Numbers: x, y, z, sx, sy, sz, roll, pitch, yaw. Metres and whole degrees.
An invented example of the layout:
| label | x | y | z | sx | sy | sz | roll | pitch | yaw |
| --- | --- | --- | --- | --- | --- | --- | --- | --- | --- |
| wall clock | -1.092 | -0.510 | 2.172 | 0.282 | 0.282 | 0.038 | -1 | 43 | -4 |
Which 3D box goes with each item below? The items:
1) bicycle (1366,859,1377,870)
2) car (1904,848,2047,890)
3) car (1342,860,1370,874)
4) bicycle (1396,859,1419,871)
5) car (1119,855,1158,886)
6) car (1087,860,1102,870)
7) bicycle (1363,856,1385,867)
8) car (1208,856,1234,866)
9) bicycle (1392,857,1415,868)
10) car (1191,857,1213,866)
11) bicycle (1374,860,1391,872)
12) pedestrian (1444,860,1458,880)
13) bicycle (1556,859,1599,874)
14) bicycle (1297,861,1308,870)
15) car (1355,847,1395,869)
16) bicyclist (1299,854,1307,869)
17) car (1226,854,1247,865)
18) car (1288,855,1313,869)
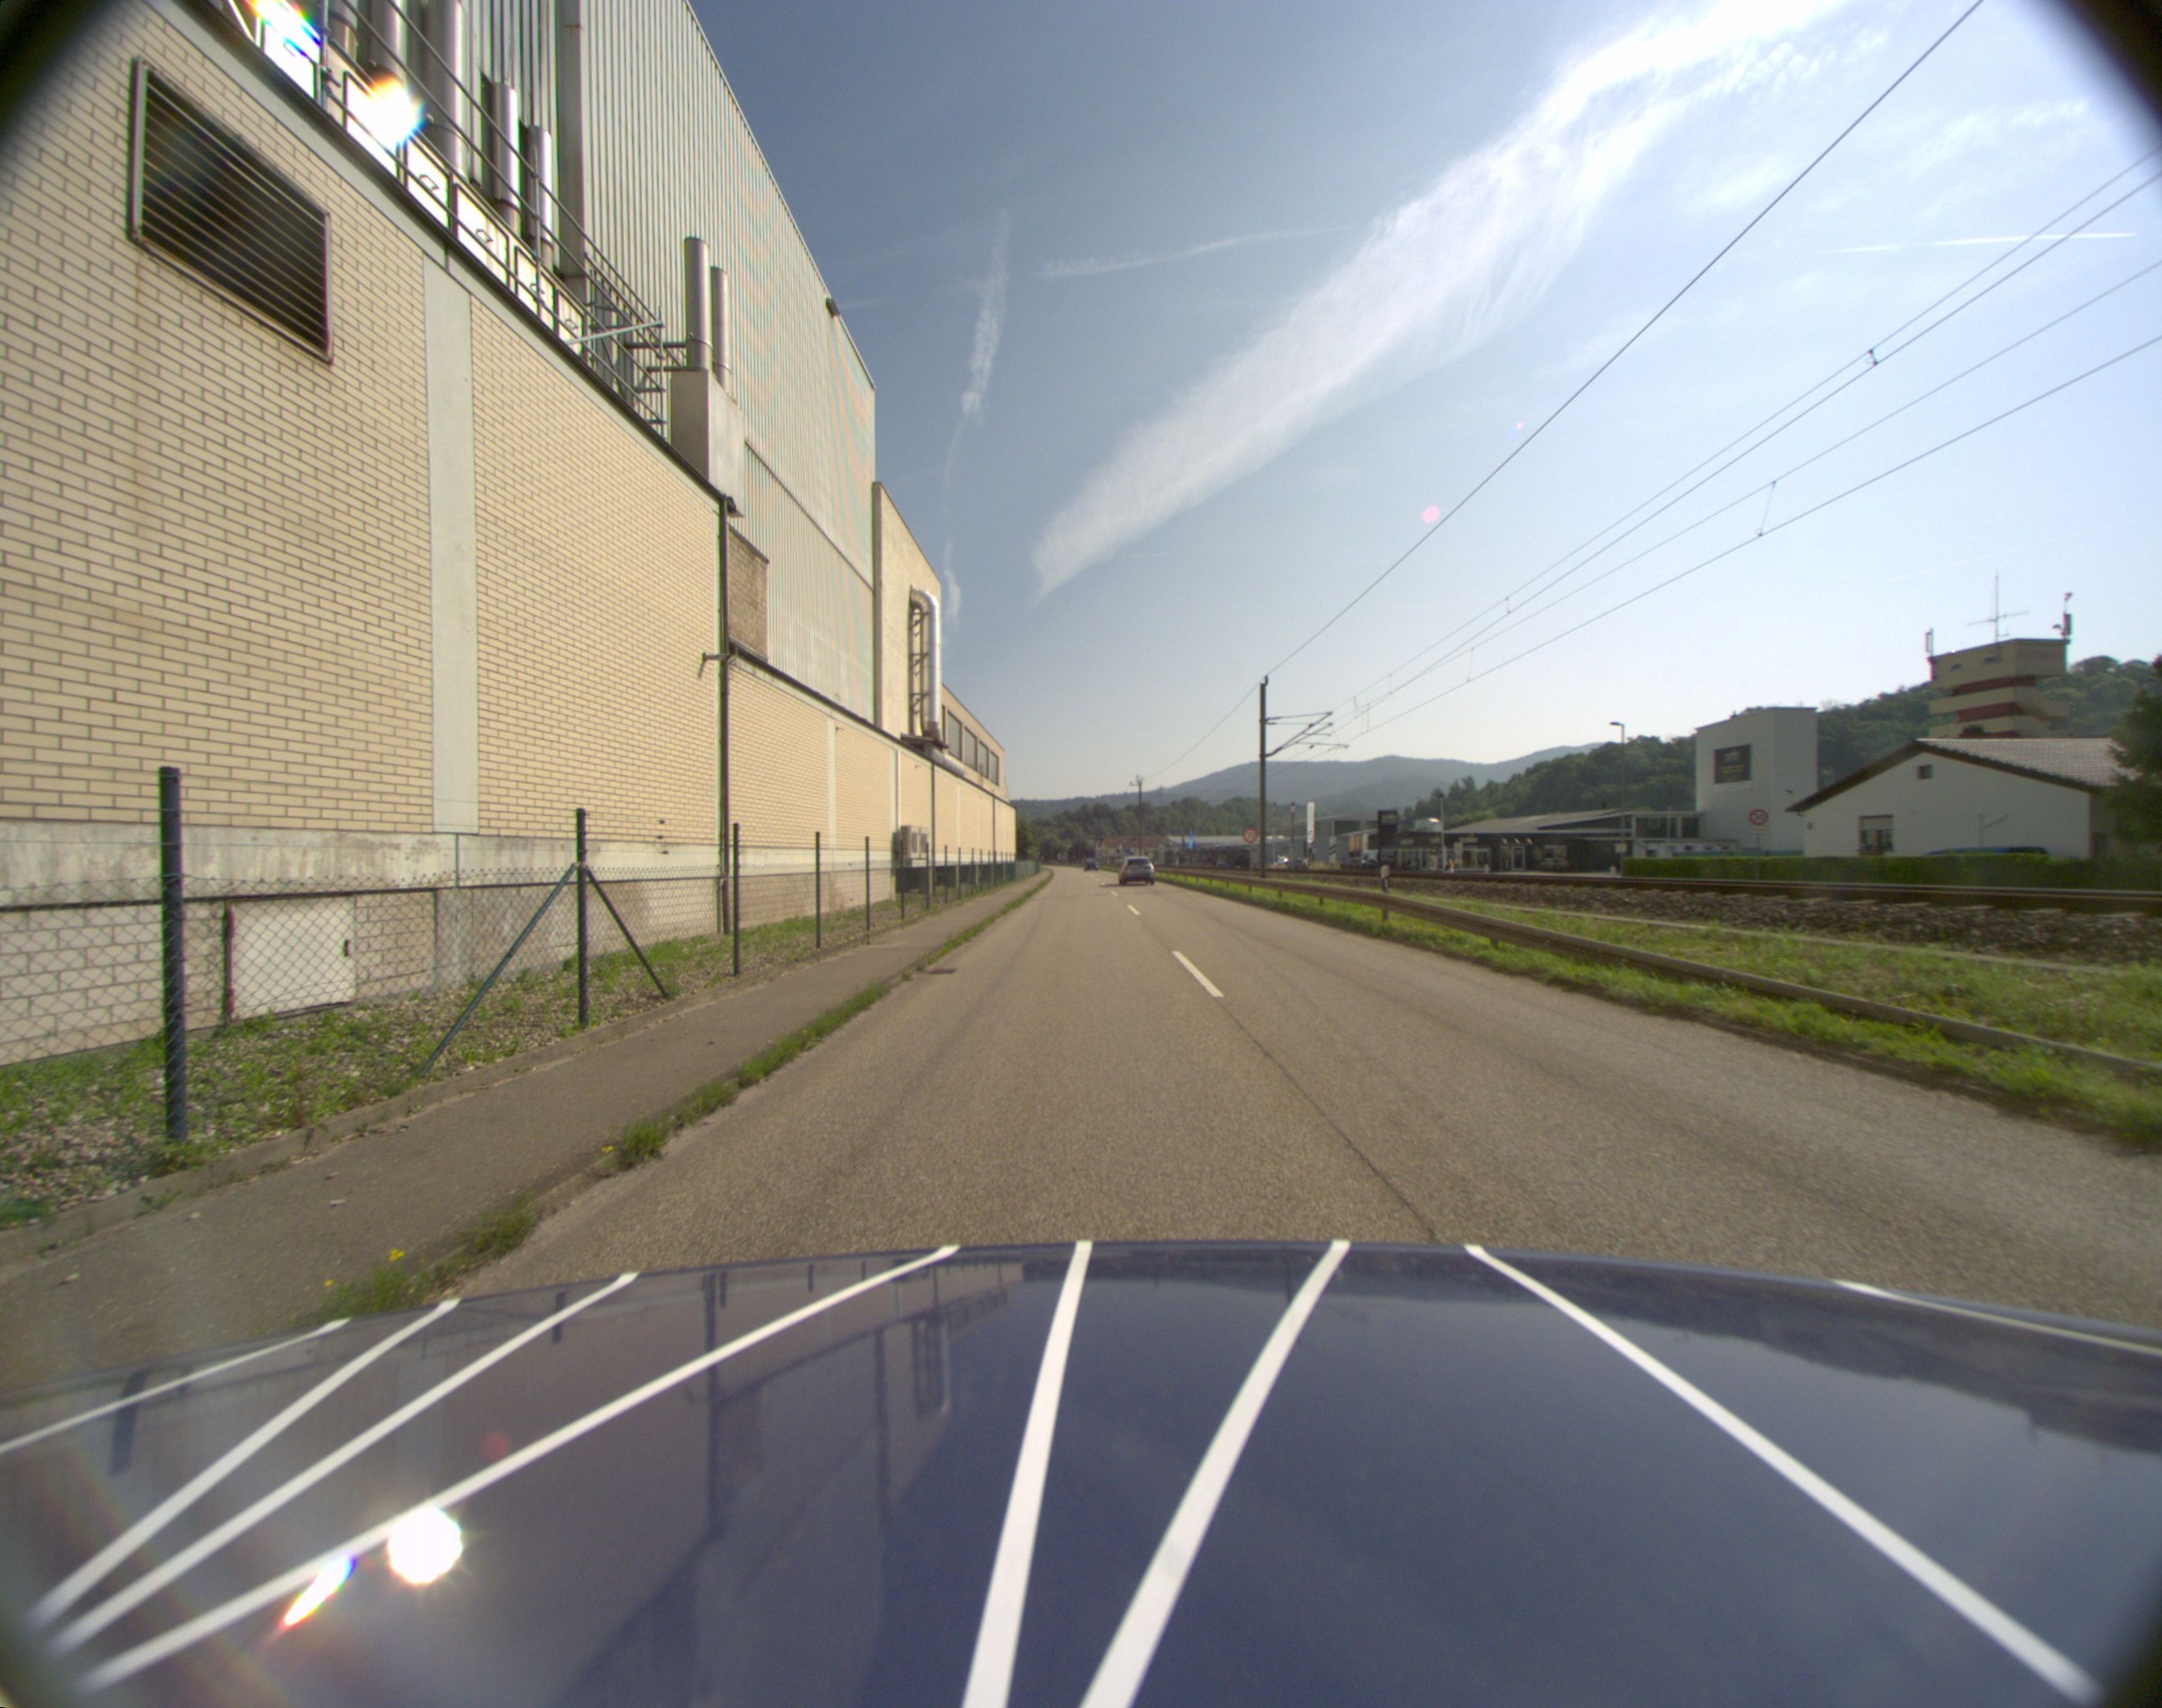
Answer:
| label | x | y | z | sx | sy | sz | roll | pitch | yaw |
| --- | --- | --- | --- | --- | --- | --- | --- | --- | --- |
| bicycle | 31.736 | 1.141 | 82.945 | 0.728 | 1.124 | 2.327 | 0 | 0 | 31 |
| car | 30.350 | 0.477 | 25.888 | 1.394 | 1.344 | 2.894 | 0 | 0 | -3 |
| car | 35.467 | 1.701 | 98.083 | 1.873 | 1.654 | 3.997 | -1 | 1 | -6 |
| bicycle | 32.848 | 1.127 | 76.477 | 2.175 | 1.124 | 0.729 | -1 | 1 | -13 |
| car | 3.303 | 0.925 | 44.205 | 1.911 | 1.591 | 4.570 | -1 | 1 | 0 |
| car | 1.831 | 1.527 | 105.930 | 1.769 | 1.395 | 4.119 | -1 | 0 | -3 |
| bicycle | 33.001 | 0.847 | 85.531 | 2.173 | 1.124 | 0.730 | 0 | 1 | -3 |
| car | 23.780 | 1.219 | 129.331 | 3.968 | 1.519 | 1.662 | -4 | 0 | -6 |
| bicycle | 33.575 | 0.928 | 79.157 | 2.175 | 1.124 | 0.729 | -1 | 1 | -13 |
| car | 22.720 | 1.403 | 142.884 | 4.279 | 1.519 | 1.842 | -4 | 0 | -45 |
| bicycle | 31.880 | 1.263 | 80.334 | 0.730 | 1.124 | 2.173 | 0 | 0 | -4 |
| pedestrian | 25.116 | 1.106 | 51.513 | 0.575 | 1.324 | 0.673 | 0 | 0 | -8 |
| bicycle | 45.838 | 1.124 | 70.125 | 3.445 | 1.281 | 0.989 | -2 | 1 | -7 |
| bicycle | 22.932 | 1.156 | 78.700 | 0.547 | 0.917 | 1.709 | 0 | 0 | -4 |
| car | 38.305 | 0.489 | 99.249 | 2.380 | 2.618 | 6.155 | 0 | 2 | -5 |
| bicyclist | 22.942 | 0.771 | 78.579 | 0.534 | 1.637 | 0.831 | 0 | 0 | -4 |
| car | 25.542 | 0.940 | 124.626 | 1.659 | 1.613 | 4.039 | -3 | 0 | 38 |
| car | 28.291 | 1.020 | 98.169 | 1.523 | 1.679 | 4.368 | -2 | 0 | -6 |
